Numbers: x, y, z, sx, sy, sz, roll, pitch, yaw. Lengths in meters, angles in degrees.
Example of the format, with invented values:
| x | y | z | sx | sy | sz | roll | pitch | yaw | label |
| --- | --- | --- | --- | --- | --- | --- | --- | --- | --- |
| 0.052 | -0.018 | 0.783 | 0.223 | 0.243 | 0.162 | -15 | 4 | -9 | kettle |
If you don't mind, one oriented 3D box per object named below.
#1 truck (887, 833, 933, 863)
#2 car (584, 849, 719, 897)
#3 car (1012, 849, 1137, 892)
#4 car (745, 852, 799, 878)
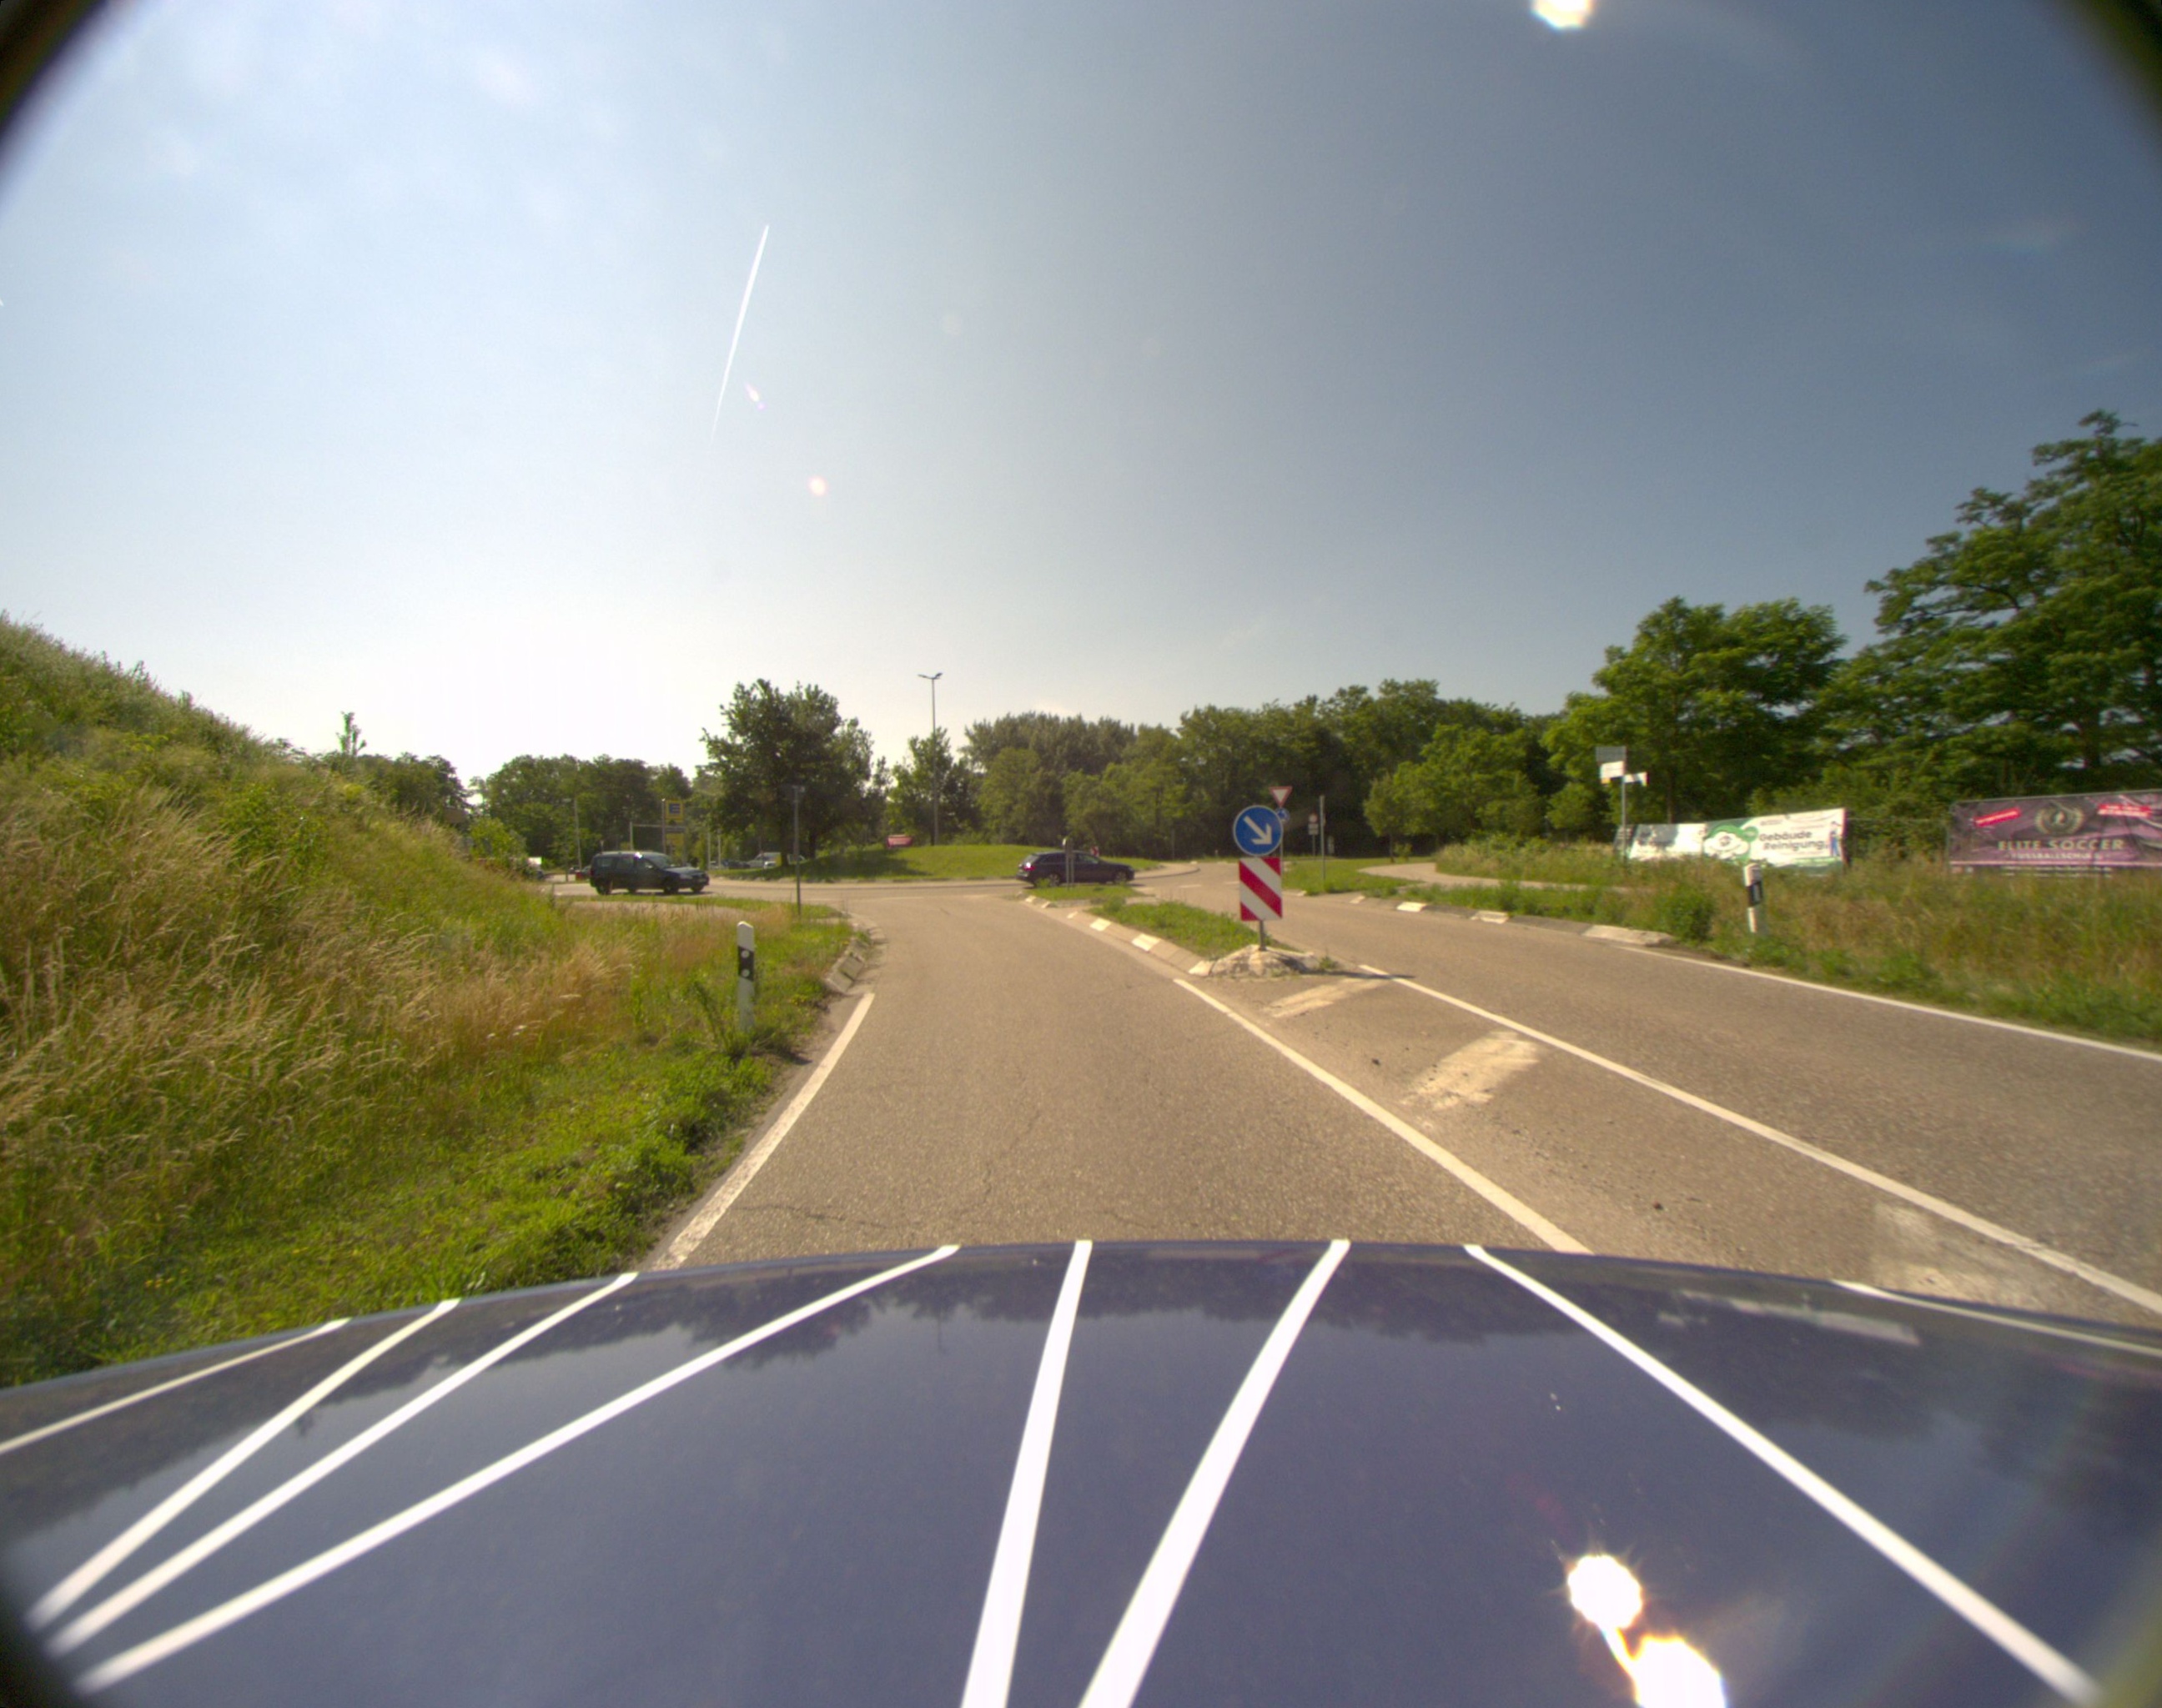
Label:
| x | y | z | sx | sy | sz | roll | pitch | yaw | label |
| --- | --- | --- | --- | --- | --- | --- | --- | --- | --- |
| -17.405 | -0.607 | 78.114 | 2.479 | 2.815 | 9.056 | -2 | 1 | 1 | truck |
| -16.701 | 0.719 | 29.621 | 4.345 | 1.647 | 1.708 | -1 | 4 | 9 | car |
| -0.280 | 0.619 | 30.571 | 4.683 | 1.481 | 1.811 | -2 | 2 | -20 | car |
| -31.785 | 1.109 | 78.212 | 4.849 | 2.517 | 1.853 | -1 | 1 | -14 | car |
